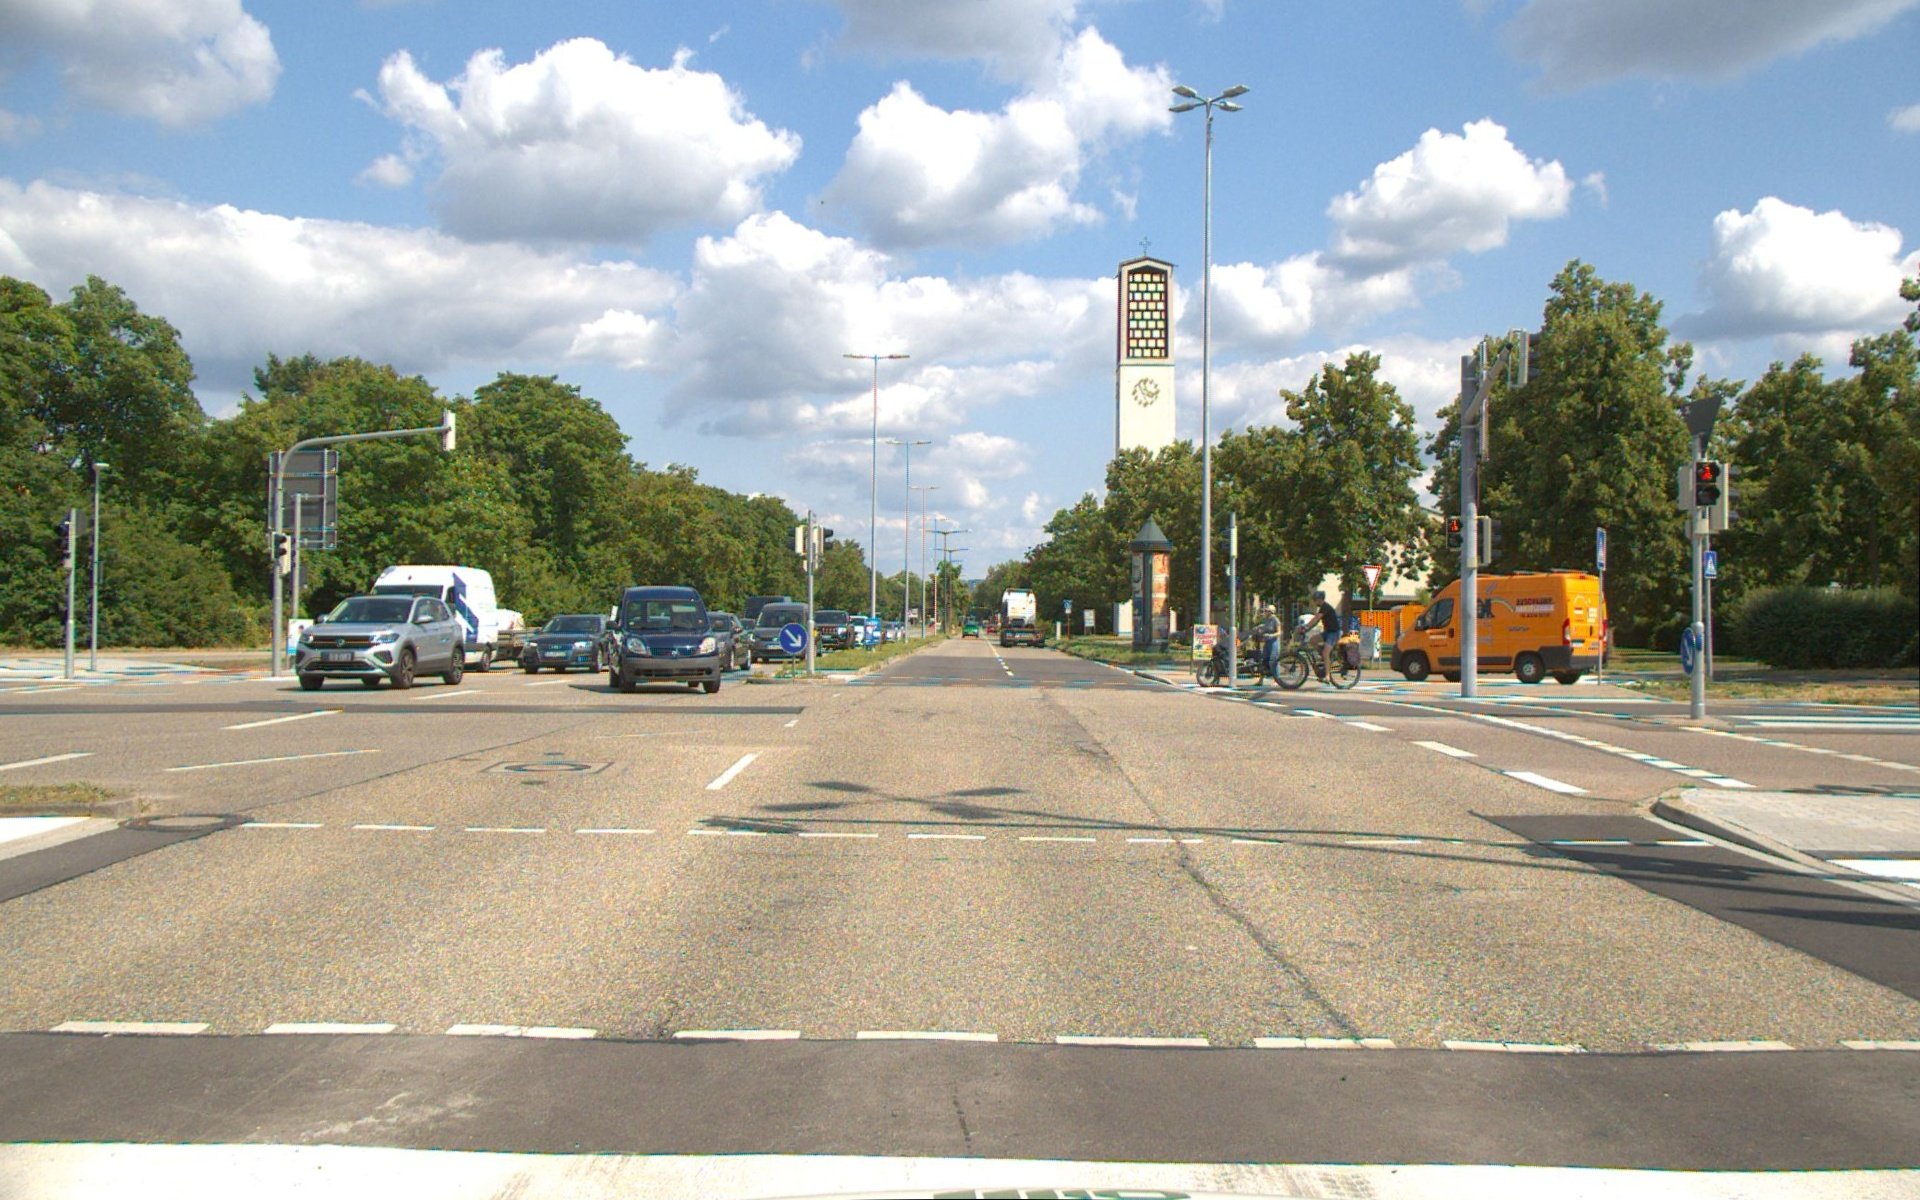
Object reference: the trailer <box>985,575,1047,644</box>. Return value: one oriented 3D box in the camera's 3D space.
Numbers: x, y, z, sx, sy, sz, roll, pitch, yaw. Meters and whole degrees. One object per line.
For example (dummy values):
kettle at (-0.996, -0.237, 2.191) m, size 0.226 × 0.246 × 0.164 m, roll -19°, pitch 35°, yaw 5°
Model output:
trailer at (3.650, 0.717, 104.659) m, size 3.544 × 4.082 × 11.322 m, roll 1°, pitch -1°, yaw 3°

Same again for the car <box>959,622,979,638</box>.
car at (0.954, 3.263, 179.180) m, size 1.953 × 1.579 × 3.999 m, roll 2°, pitch -1°, yaw -1°

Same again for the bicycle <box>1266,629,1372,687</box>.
bicycle at (7.201, 1.161, 33.179) m, size 1.958 × 1.113 × 0.685 m, roll 1°, pitch -1°, yaw -7°

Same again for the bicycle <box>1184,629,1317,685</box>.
bicycle at (6.105, 1.192, 34.690) m, size 2.796 × 1.131 × 0.791 m, roll 1°, pitch 0°, yaw -25°

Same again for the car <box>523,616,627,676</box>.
car at (-9.345, 1.099, 40.370) m, size 1.728 × 1.375 × 3.518 m, roll 1°, pitch -1°, yaw -1°

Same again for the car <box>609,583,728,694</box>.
car at (-5.064, 0.630, 28.339) m, size 1.705 × 1.689 × 4.216 m, roll 2°, pitch -1°, yaw -13°

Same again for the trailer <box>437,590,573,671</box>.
trailer at (-12.723, 0.856, 46.596) m, size 2.080 × 2.049 × 5.163 m, roll 2°, pitch -1°, yaw 3°

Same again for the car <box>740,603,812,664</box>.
car at (-5.607, 0.992, 50.758) m, size 1.699 × 1.689 × 4.230 m, roll 2°, pitch 0°, yaw -1°

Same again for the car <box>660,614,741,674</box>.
car at (-6.259, 1.040, 40.120) m, size 1.537 × 1.339 × 3.430 m, roll 2°, pitch -1°, yaw -3°

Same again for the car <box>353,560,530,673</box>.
car at (-12.707, 0.430, 41.049) m, size 2.128 × 2.514 × 5.969 m, roll 2°, pitch -1°, yaw 3°

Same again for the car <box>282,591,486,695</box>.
car at (-9.749, 0.720, 28.368) m, size 1.698 × 1.570 × 4.310 m, roll 2°, pitch -1°, yaw 3°

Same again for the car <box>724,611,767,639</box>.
car at (-10.030, 1.174, 77.521) m, size 1.516 × 1.238 × 3.489 m, roll 2°, pitch -1°, yaw -1°

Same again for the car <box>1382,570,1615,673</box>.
car at (12.720, 0.480, 39.257) m, size 2.193 × 2.265 × 4.784 m, roll 3°, pitch -1°, yaw -42°

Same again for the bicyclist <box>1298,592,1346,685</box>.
bicyclist at (7.261, 0.761, 33.191) m, size 0.771 × 1.836 × 0.685 m, roll 1°, pitch -1°, yaw -6°

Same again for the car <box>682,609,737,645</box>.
car at (-9.325, 1.000, 61.823) m, size 1.516 × 1.238 × 3.489 m, roll 2°, pitch -1°, yaw -1°

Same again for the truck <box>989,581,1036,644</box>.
truck at (3.644, 0.912, 112.547) m, size 2.897 × 4.040 × 8.640 m, roll 1°, pitch -1°, yaw 3°

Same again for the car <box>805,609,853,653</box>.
car at (-5.460, 1.289, 69.307) m, size 1.699 × 1.689 × 4.230 m, roll 2°, pitch -1°, yaw -1°

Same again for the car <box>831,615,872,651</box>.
car at (-5.338, 1.636, 81.848) m, size 1.699 × 1.689 × 4.230 m, roll 2°, pitch -1°, yaw 0°

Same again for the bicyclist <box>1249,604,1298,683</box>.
bicyclist at (6.608, 0.904, 34.919) m, size 0.689 × 1.644 × 0.791 m, roll 1°, pitch -1°, yaw -24°
